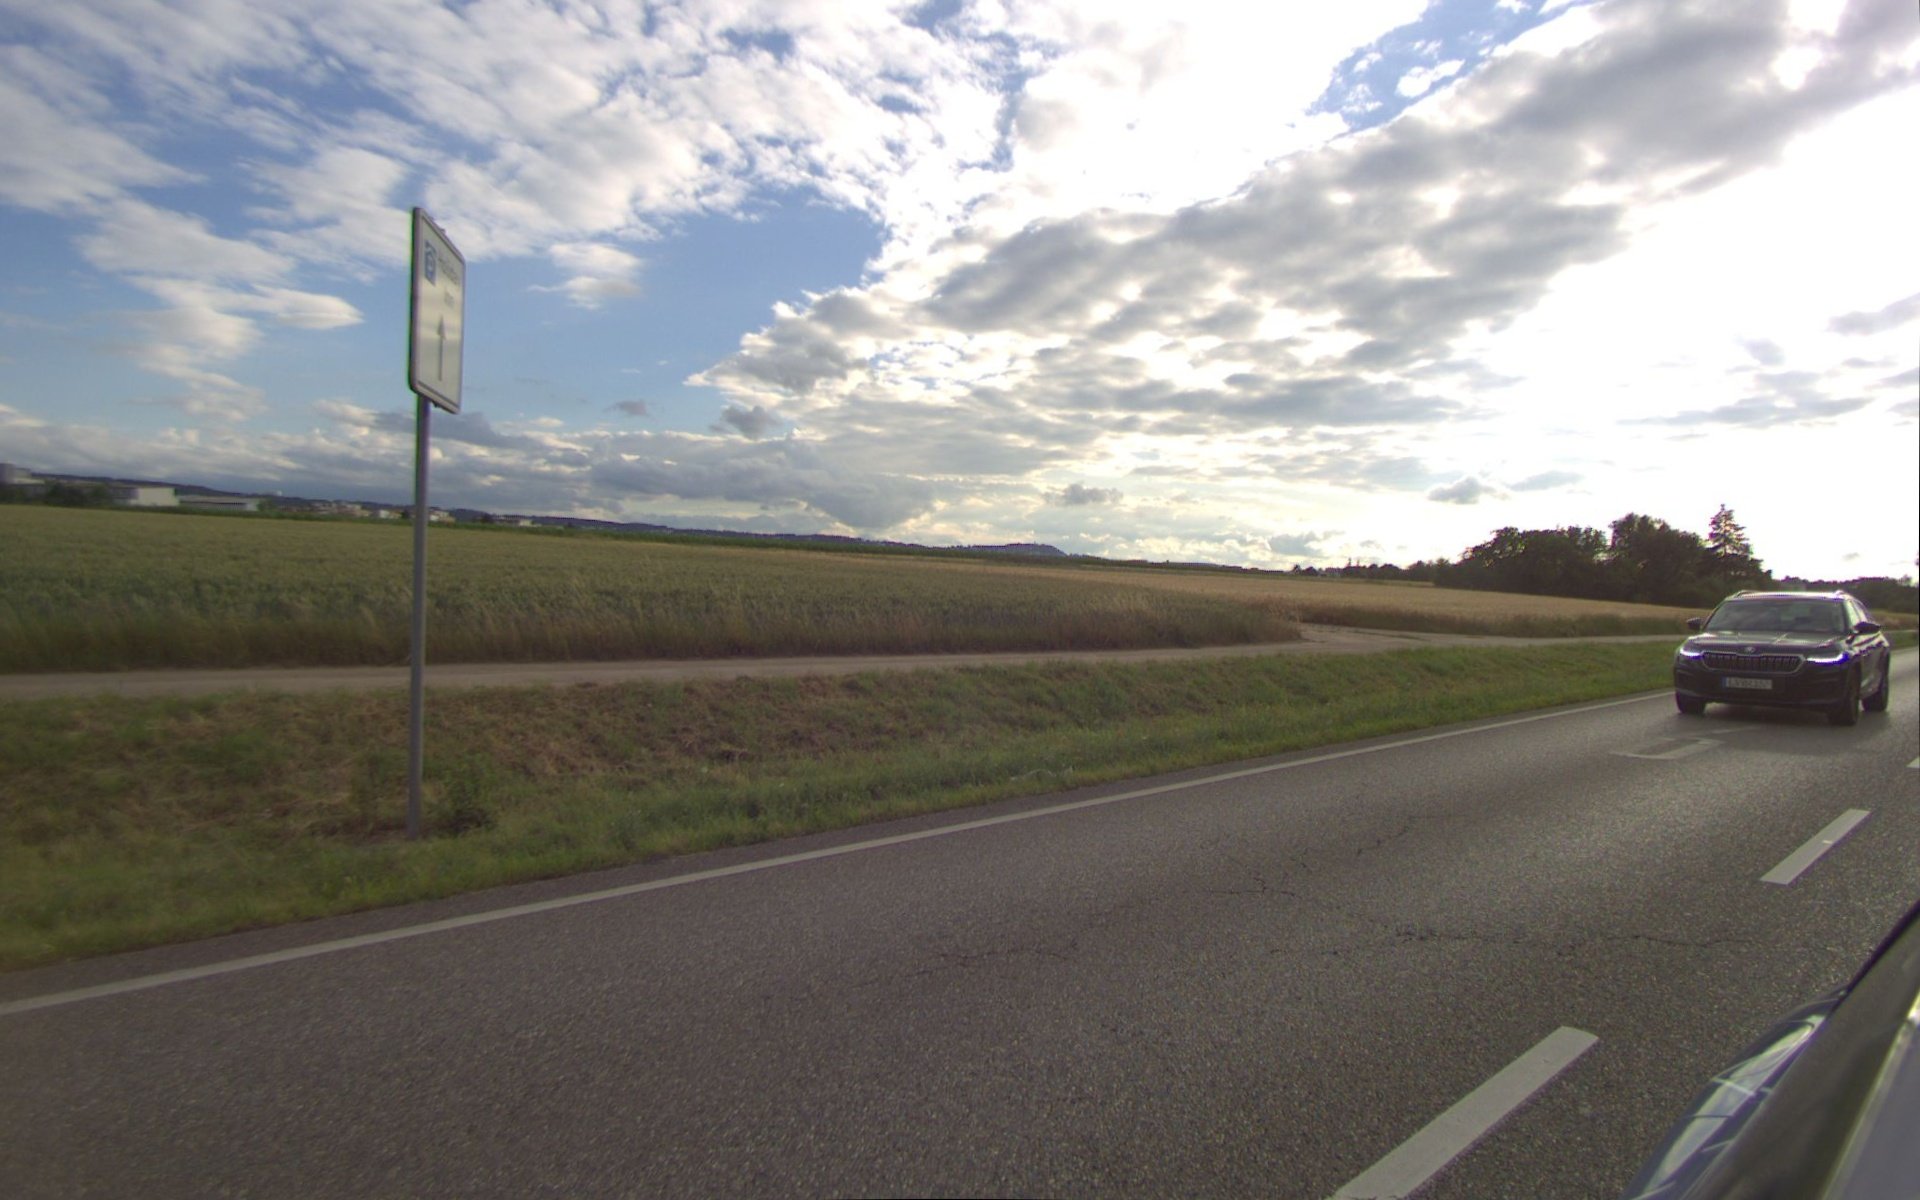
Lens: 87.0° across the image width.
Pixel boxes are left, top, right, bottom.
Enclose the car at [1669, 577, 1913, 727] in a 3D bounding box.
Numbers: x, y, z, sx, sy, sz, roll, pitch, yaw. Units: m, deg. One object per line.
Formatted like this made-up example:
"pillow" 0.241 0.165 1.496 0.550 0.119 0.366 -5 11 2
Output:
"car" 11.466 0.569 13.848 4.477 1.730 1.840 -1 0 -41
